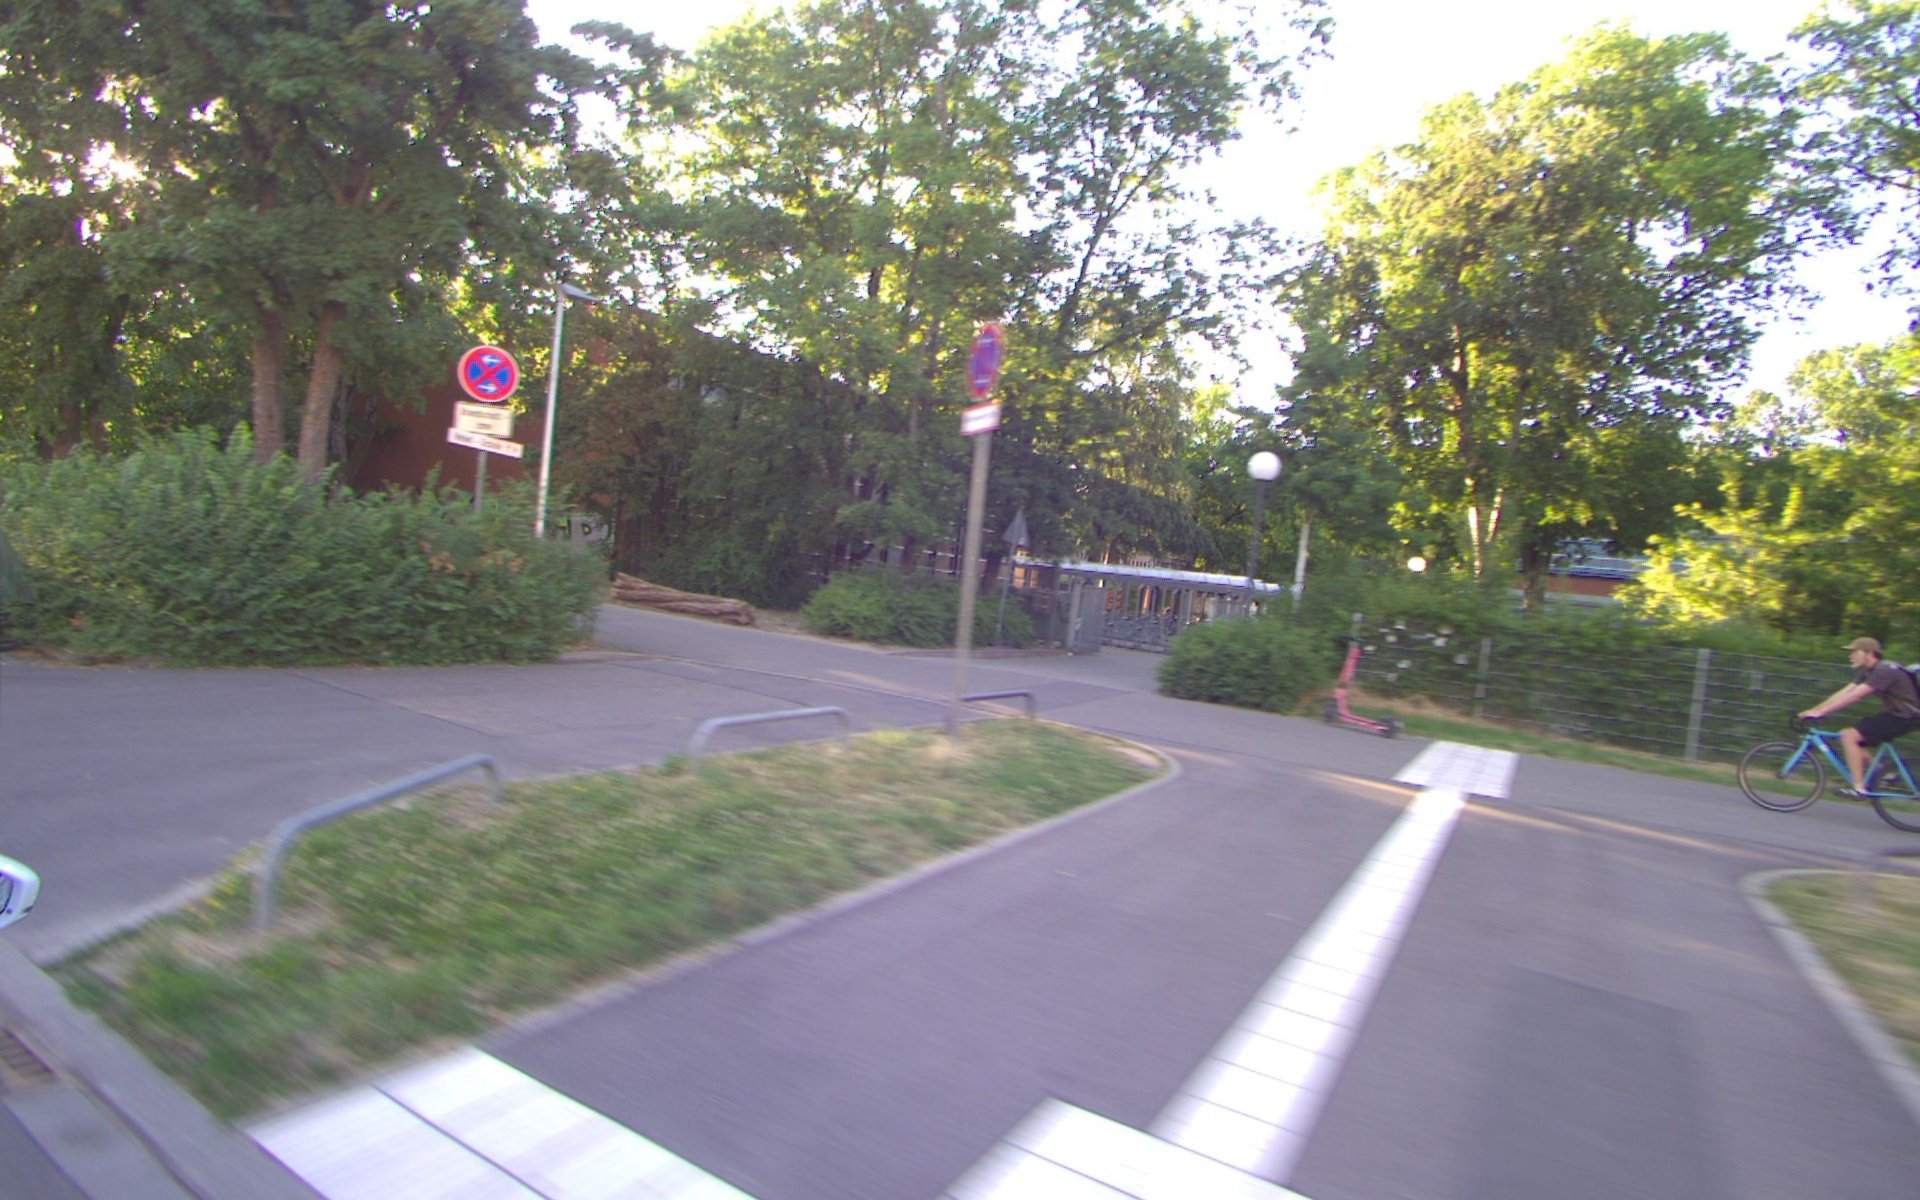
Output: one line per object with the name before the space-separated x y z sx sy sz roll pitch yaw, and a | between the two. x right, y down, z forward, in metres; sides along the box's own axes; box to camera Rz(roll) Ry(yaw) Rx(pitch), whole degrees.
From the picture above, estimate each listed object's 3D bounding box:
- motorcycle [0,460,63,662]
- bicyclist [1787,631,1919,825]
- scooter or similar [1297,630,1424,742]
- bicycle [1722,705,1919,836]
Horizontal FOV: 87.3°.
motorcycle | -8.621 -0.420 7.746 2.269 1.565 1.033 5 2 -25
bicyclist | 8.357 1.164 9.406 0.712 1.666 0.532 7 3 30
scooter or similar | 5.095 1.069 12.874 0.382 1.223 1.457 4 2 -31
bicycle | 8.295 1.596 9.431 1.693 0.930 0.532 7 2 30
